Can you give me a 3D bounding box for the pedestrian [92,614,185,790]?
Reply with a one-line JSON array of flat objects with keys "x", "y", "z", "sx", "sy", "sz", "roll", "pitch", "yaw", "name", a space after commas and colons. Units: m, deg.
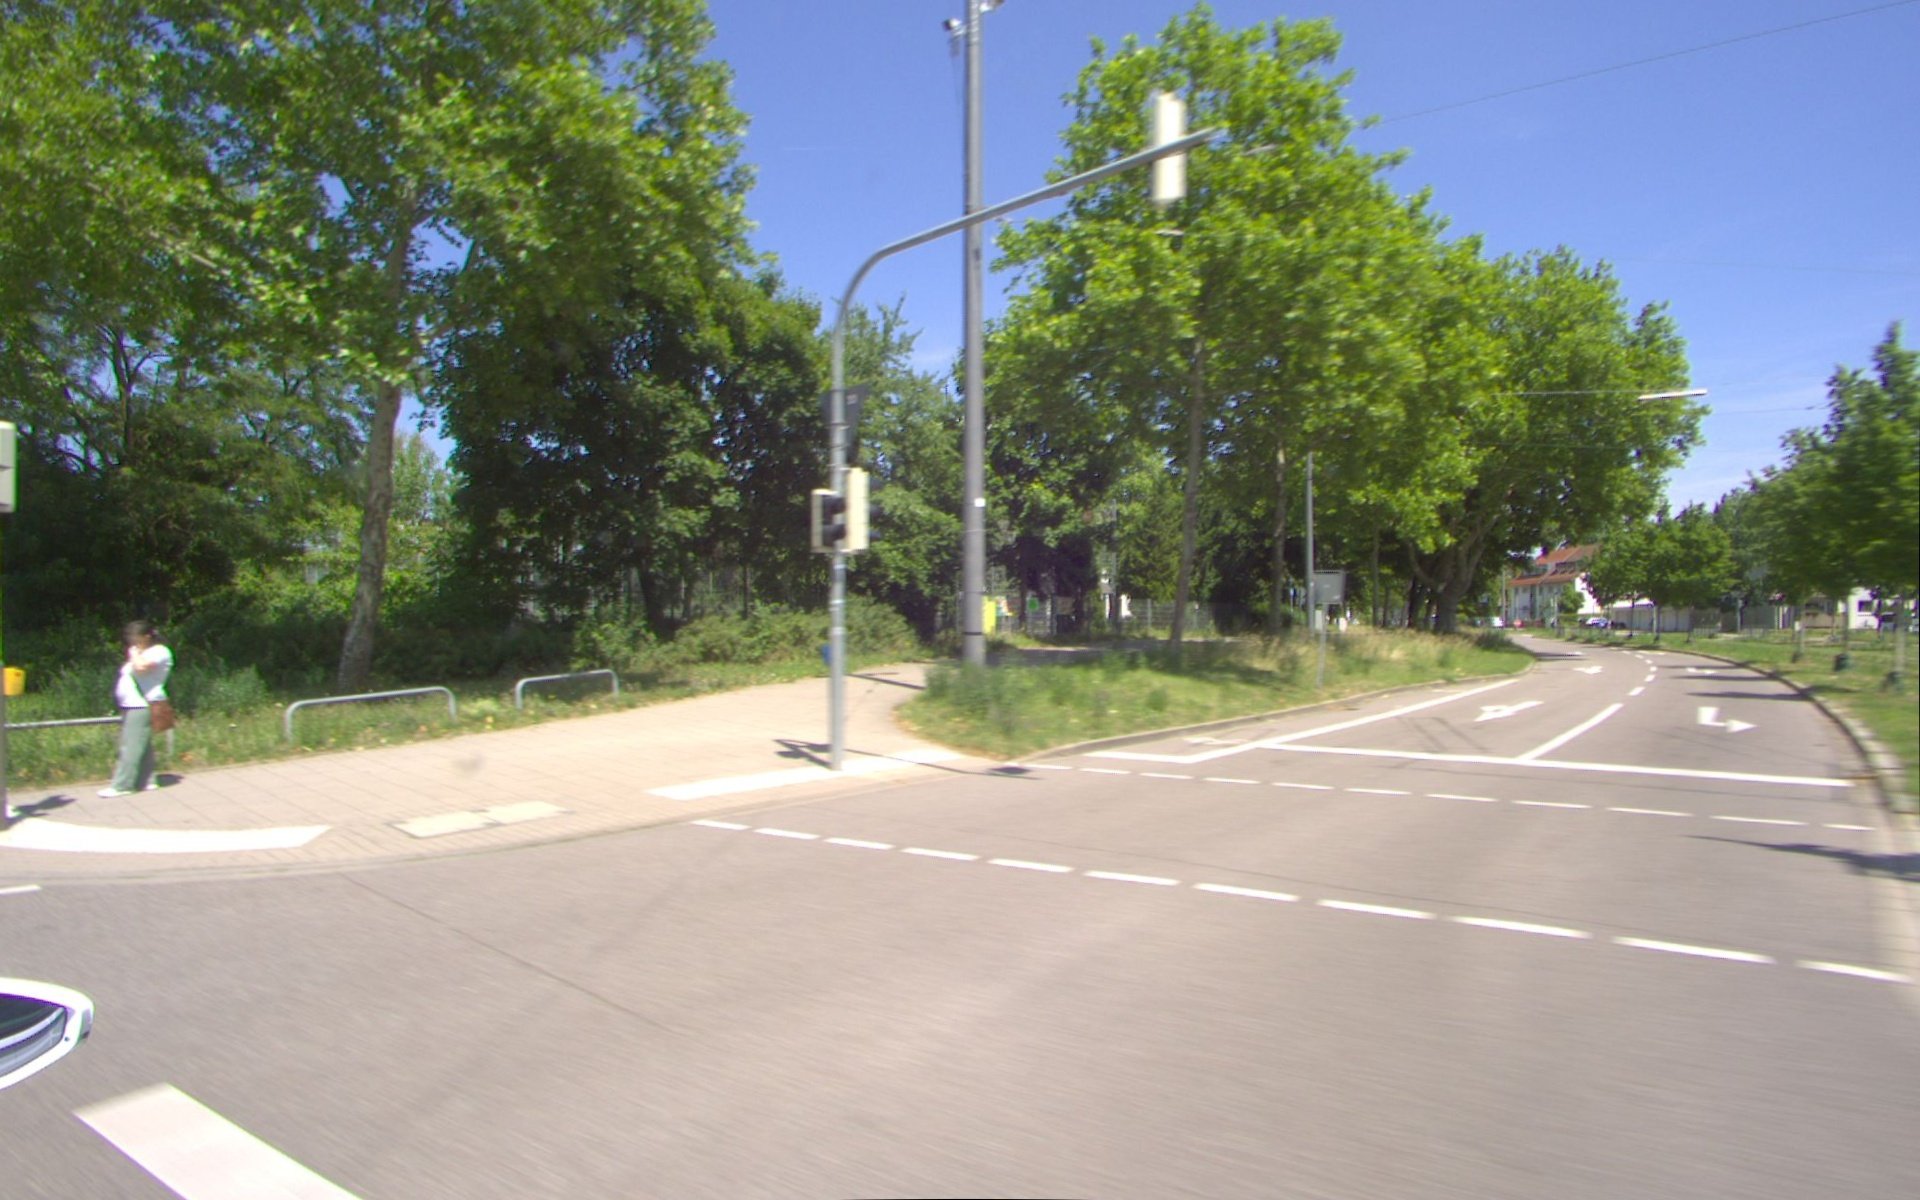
[{"x": -7.368, "y": 0.882, "z": 8.981, "sx": 0.622, "sy": 1.503, "sz": 0.550, "roll": 0, "pitch": 0, "yaw": 41, "name": "pedestrian"}]
